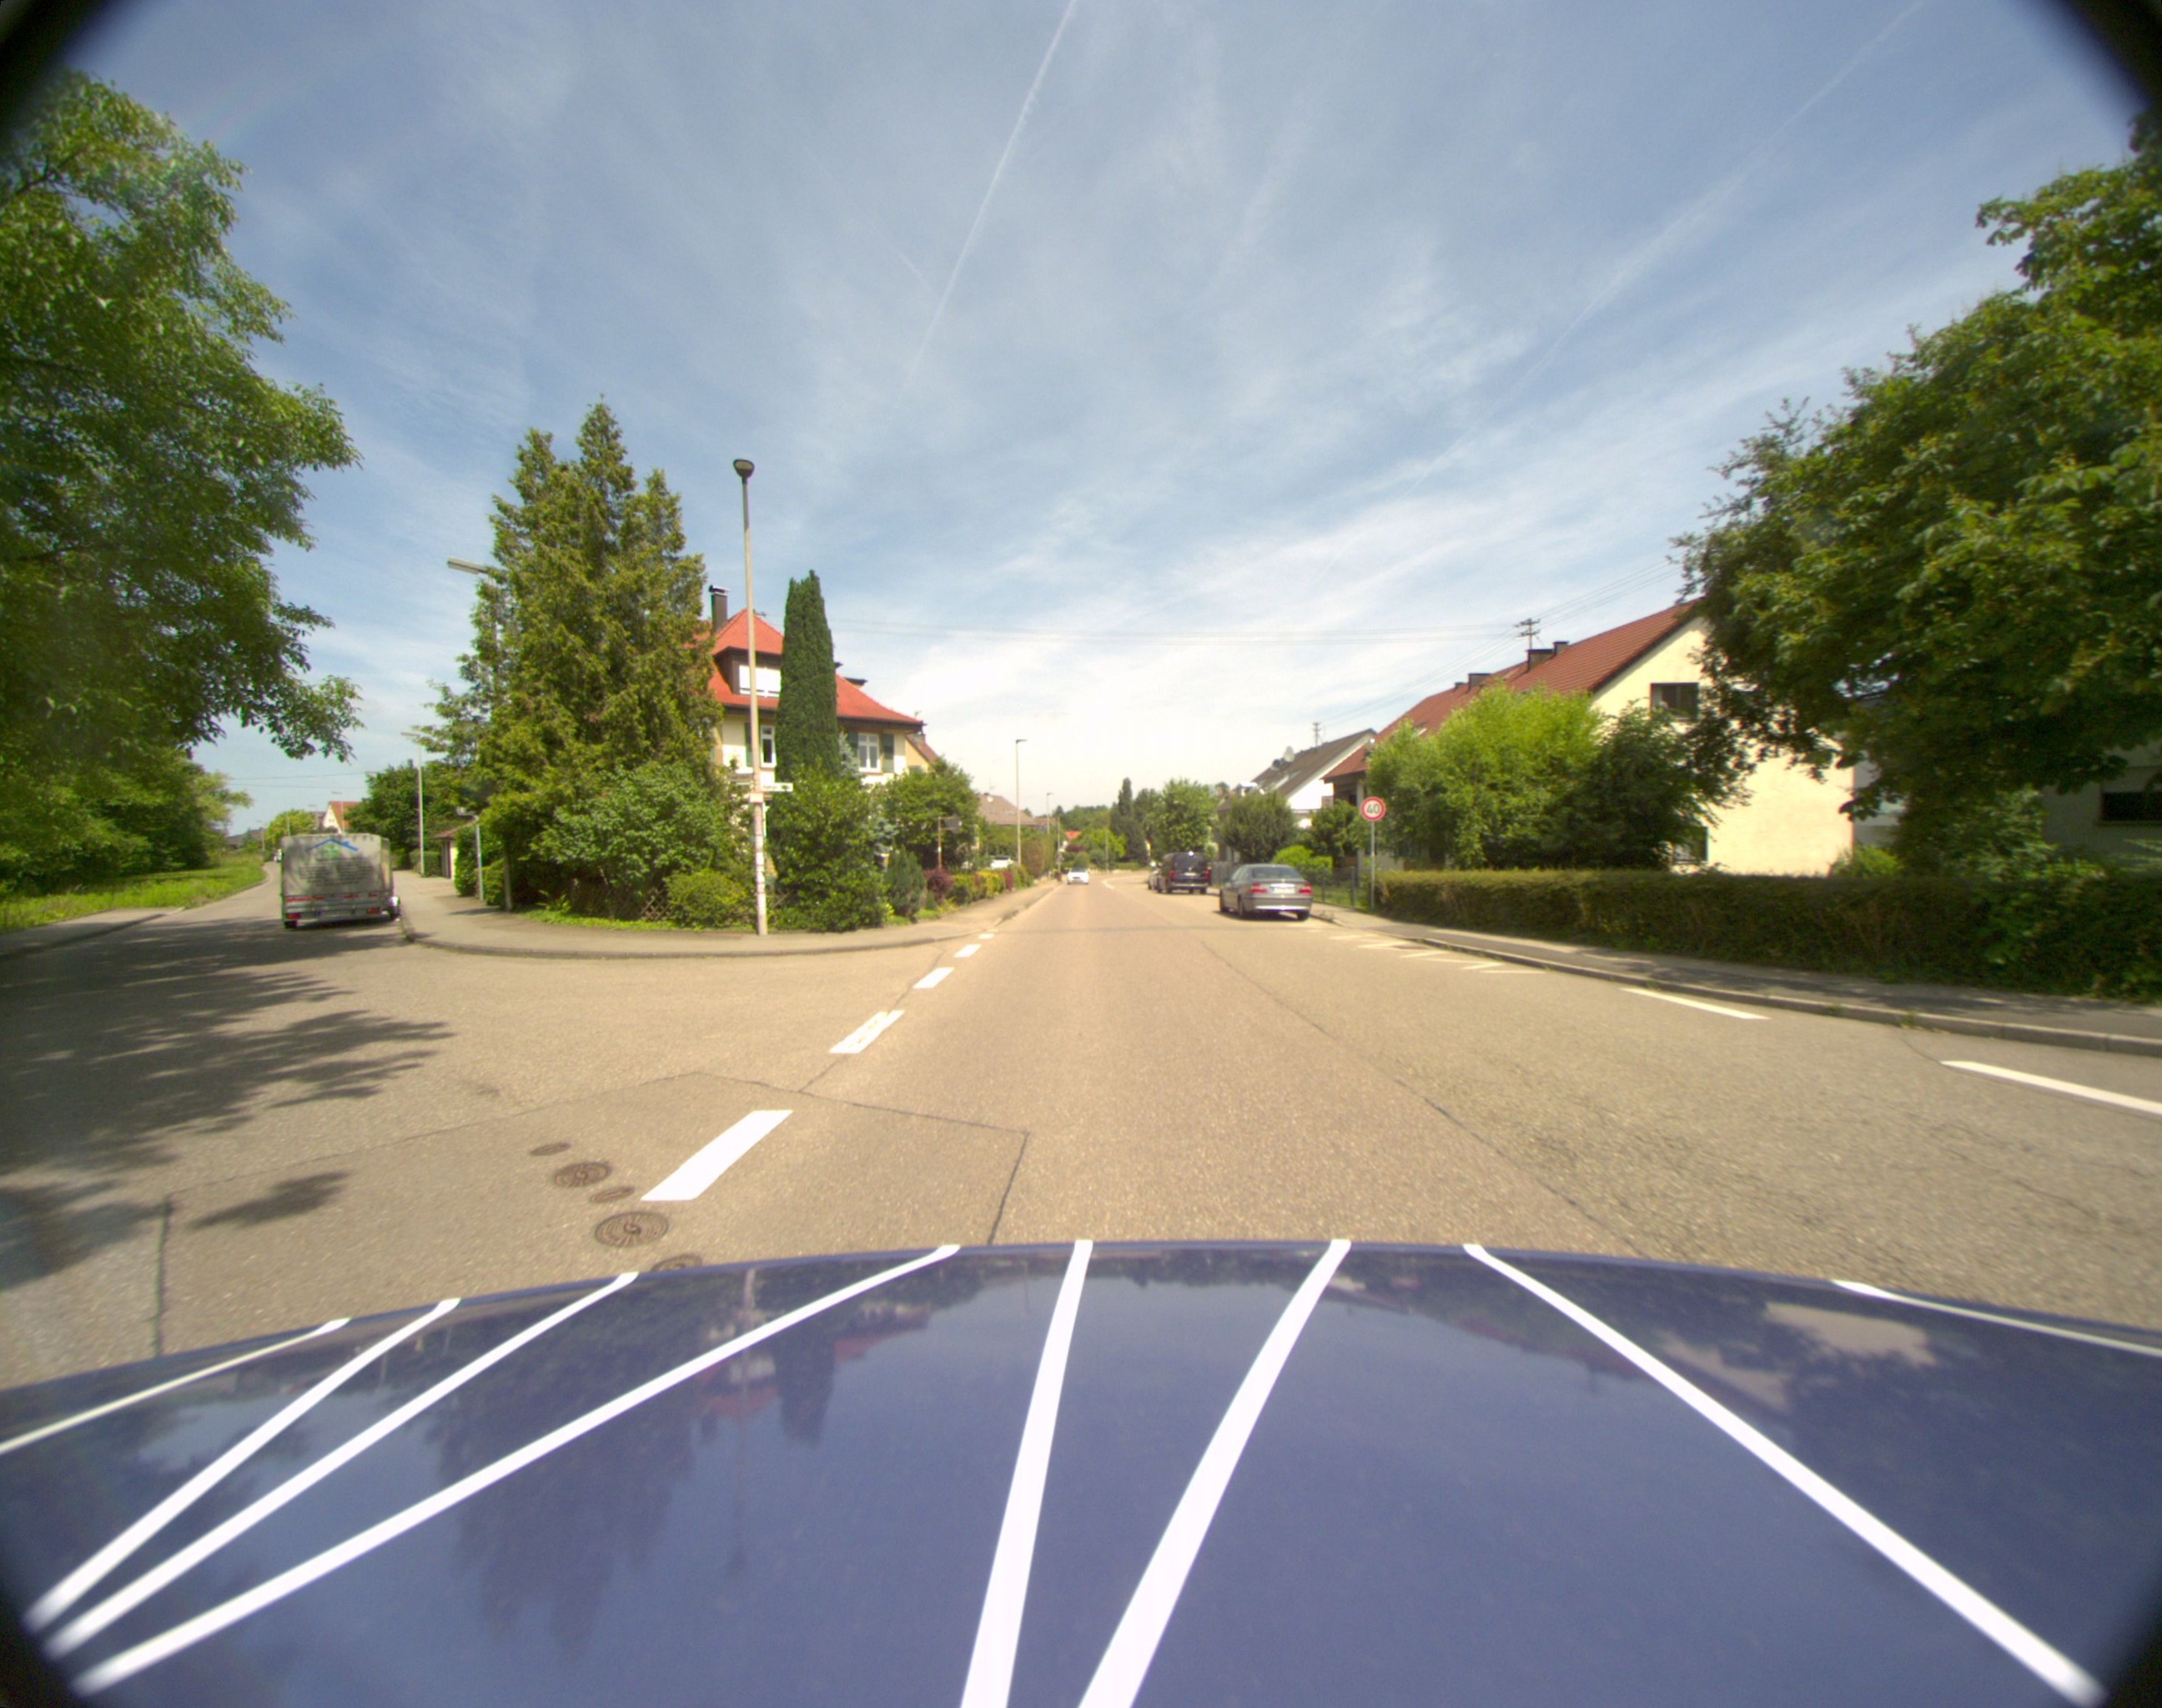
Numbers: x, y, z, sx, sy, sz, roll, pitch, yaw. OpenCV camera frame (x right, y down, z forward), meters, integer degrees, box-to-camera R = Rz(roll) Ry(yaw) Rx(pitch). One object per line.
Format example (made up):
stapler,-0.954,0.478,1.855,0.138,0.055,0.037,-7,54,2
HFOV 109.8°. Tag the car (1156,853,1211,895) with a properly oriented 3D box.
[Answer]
car,4.950,0.948,37.357,1.901,1.908,4.870,0,-1,-2

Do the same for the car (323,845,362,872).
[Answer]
car,-57.962,0.348,59.630,3.887,2.069,1.851,-1,1,42

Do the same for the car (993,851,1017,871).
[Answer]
car,-6.435,0.563,64.490,1.609,1.474,3.557,-1,3,0

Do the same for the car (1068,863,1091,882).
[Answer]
car,-0.195,1.603,65.883,1.827,1.543,3.999,-1,0,-2

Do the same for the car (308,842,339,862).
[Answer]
car,-73.085,-0.206,73.315,3.887,1.839,1.851,-1,1,42

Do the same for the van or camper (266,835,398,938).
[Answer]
van or camper,-17.732,0.684,18.163,1.822,2.128,3.378,-5,4,-40

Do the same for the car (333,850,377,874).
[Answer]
car,-49.498,0.541,51.802,3.887,1.568,1.851,-1,1,42

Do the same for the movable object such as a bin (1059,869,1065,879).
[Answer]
movable object such as a bin,-1.873,2.006,75.079,0.590,0.972,0.786,1,0,0

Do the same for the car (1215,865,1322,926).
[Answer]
car,4.852,1.012,20.292,1.784,1.386,4.409,0,0,0

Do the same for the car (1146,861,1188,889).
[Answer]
car,5.040,1.229,44.976,1.816,1.540,4.243,-1,-1,-2

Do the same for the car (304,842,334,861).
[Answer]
car,-76.523,-0.281,76.322,3.887,1.839,1.851,-1,1,41

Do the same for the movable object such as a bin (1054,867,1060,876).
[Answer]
movable object such as a bin,-2.876,2.082,91.461,0.589,1.052,0.920,0,0,3
